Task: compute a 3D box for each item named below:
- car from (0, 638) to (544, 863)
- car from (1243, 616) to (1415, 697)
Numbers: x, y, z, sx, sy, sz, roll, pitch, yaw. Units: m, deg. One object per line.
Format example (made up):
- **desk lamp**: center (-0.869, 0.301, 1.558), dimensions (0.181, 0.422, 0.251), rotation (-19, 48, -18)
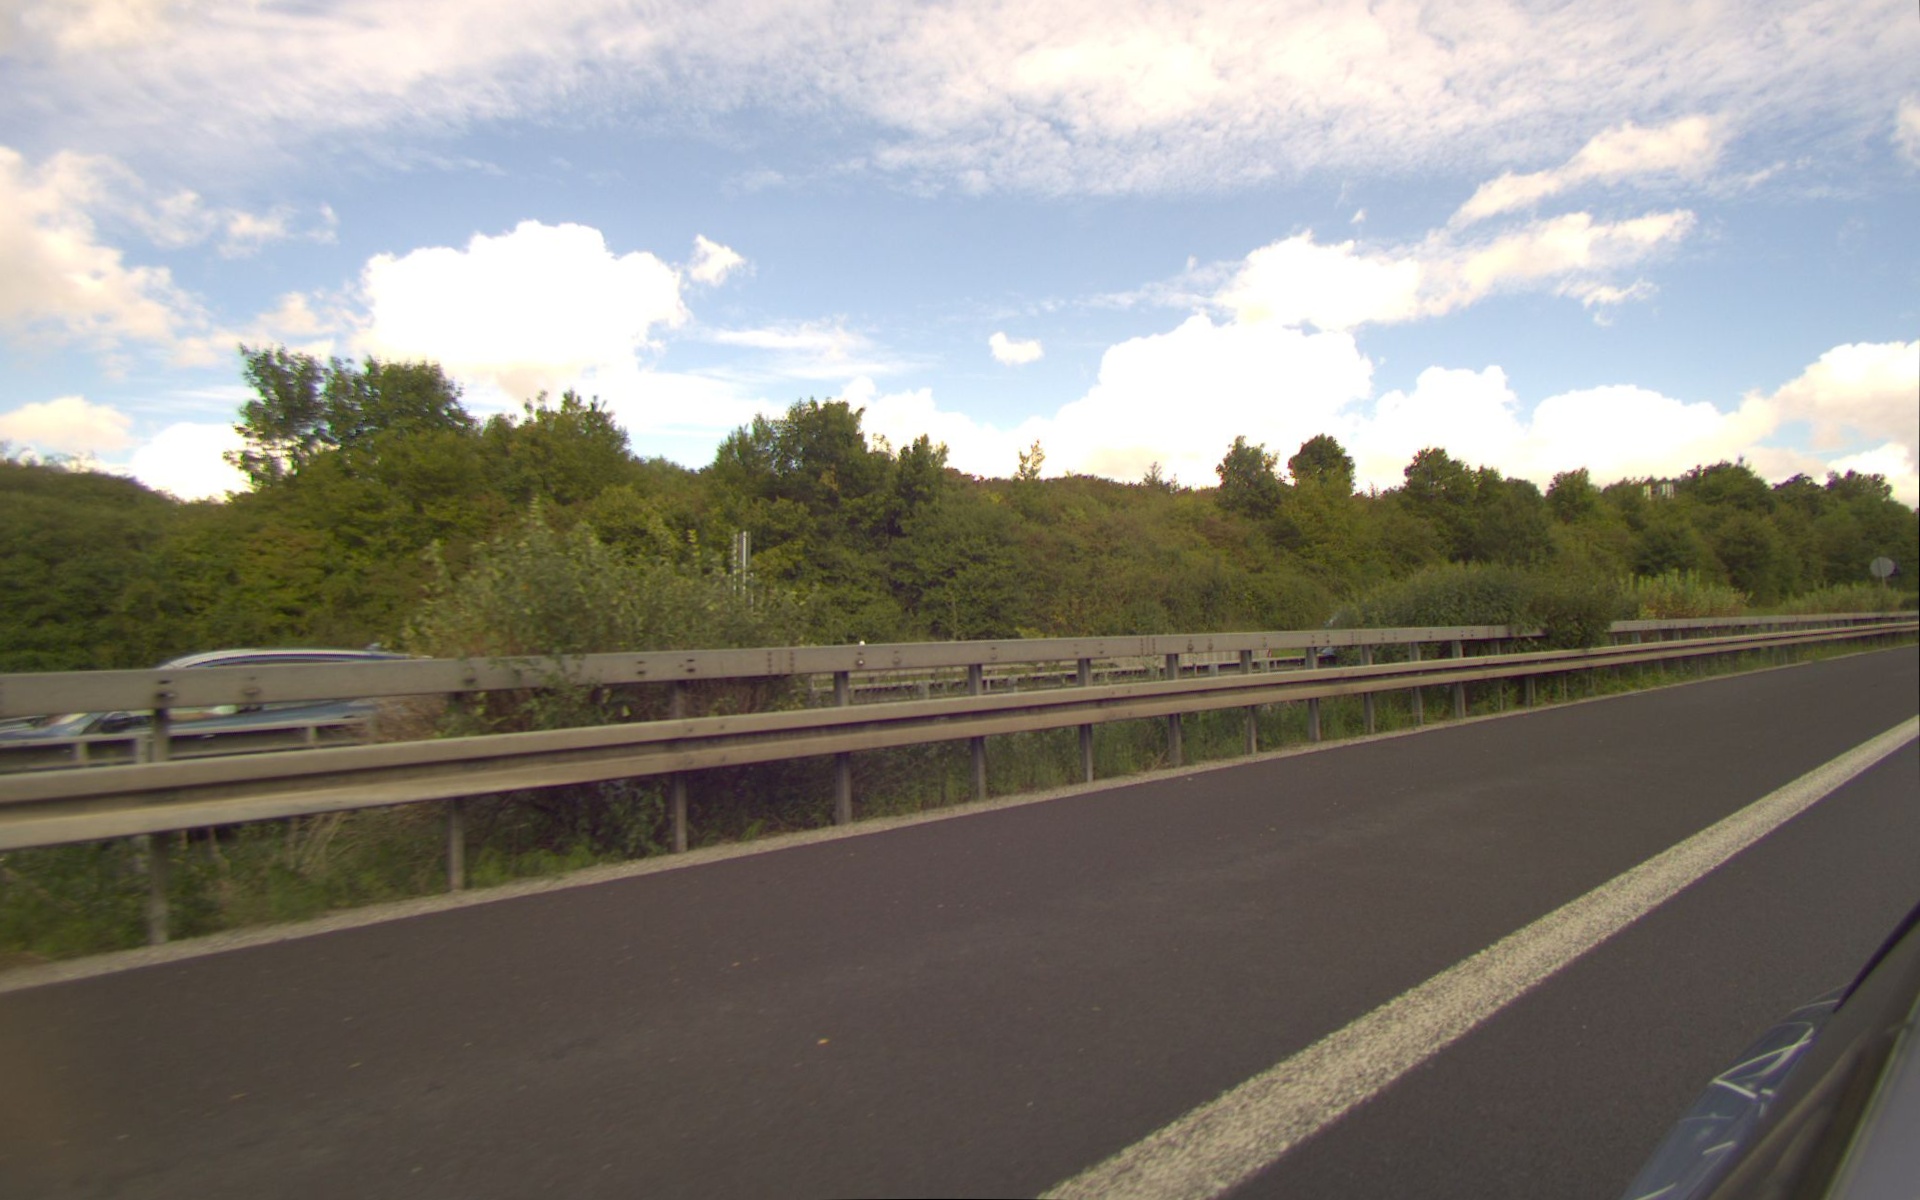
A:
- **car**: center (-6.547, 1.217, 9.500), dimensions (4.594, 1.538, 1.787), rotation (0, 0, -40)
- **car**: center (8.293, 1.177, 22.591), dimensions (4.268, 1.591, 1.787), rotation (0, 0, -41)
